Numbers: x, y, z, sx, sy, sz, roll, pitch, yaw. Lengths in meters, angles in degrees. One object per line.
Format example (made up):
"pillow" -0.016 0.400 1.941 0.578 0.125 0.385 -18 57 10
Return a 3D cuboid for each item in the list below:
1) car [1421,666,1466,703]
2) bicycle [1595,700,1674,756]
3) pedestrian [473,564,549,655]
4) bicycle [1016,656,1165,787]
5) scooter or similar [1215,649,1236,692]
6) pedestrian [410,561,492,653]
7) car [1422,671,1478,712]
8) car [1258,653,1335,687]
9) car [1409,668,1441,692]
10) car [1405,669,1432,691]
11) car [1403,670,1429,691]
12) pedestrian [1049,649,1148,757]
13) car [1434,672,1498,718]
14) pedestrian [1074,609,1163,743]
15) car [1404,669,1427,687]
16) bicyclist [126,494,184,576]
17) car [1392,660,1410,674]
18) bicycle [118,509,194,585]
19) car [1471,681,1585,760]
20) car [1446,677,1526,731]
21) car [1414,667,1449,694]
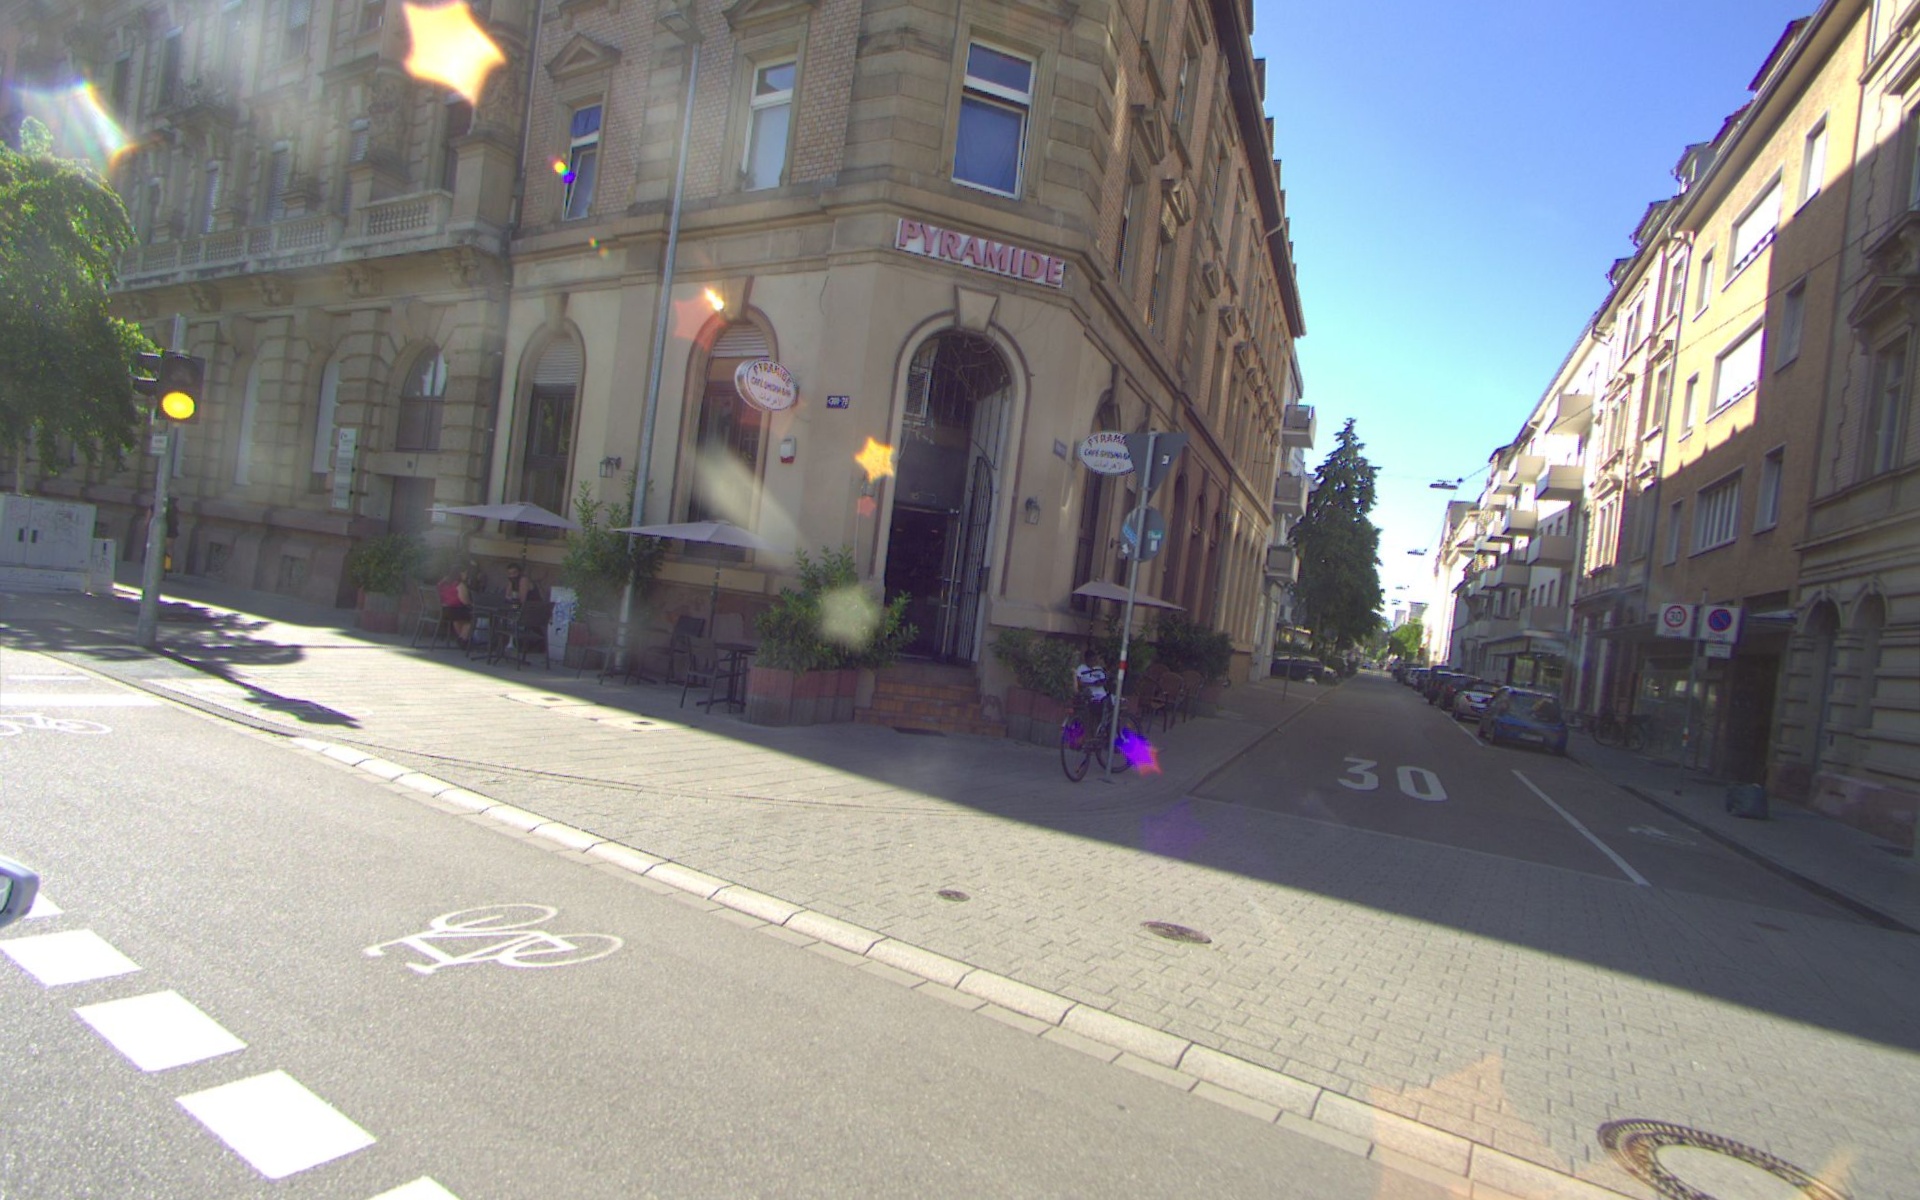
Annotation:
"car" 25.778 4.459 53.708 1.769 1.685 3.772 7 0 23
"bicycle" 17.856 3.374 26.706 0.621 1.192 2.014 7 0 1
"pedestrian" -6.616 0.146 14.825 0.624 1.253 0.706 7 2 31
"bicycle" 1.443 1.286 10.846 0.643 1.186 1.818 12 2 35
"scooter or similar" 7.917 2.088 29.971 0.344 1.237 1.527 7 0 20
"pedestrian" -7.092 0.109 14.025 0.624 1.193 0.706 7 2 31
"car" 21.536 3.985 44.339 1.769 1.450 3.773 7 0 22
"car" 17.629 3.672 52.729 3.295 1.299 1.707 7 0 -7
"car" 32.686 5.610 70.796 1.769 1.450 3.772 7 0 23
"car" 36.857 6.393 80.916 1.769 1.450 3.772 7 0 23
"car" 38.597 6.803 85.224 1.769 1.450 3.772 7 0 23
"pedestrian" 1.804 1.320 13.037 0.917 1.228 0.852 7 -1 25
"car" 19.816 3.671 39.521 1.769 1.450 3.773 7 0 22
"pedestrian" 2.314 1.104 14.606 0.852 1.781 0.909 7 0 25
"car" 43.110 7.367 95.227 1.769 1.450 3.772 7 0 23
"bicyclist" -16.040 -1.292 20.041 0.788 1.552 0.660 8 5 33
"car" 52.038 7.891 118.833 1.769 1.450 3.772 7 0 23
"bicycle" -16.067 -1.068 20.083 1.869 1.349 0.615 7 5 33
"car" 14.165 2.938 25.300 1.769 1.437 3.999 9 0 22
"car" 17.502 3.415 33.646 1.769 1.350 3.999 10 0 22
"car" 30.762 5.234 65.672 1.769 1.450 3.772 7 0 23
